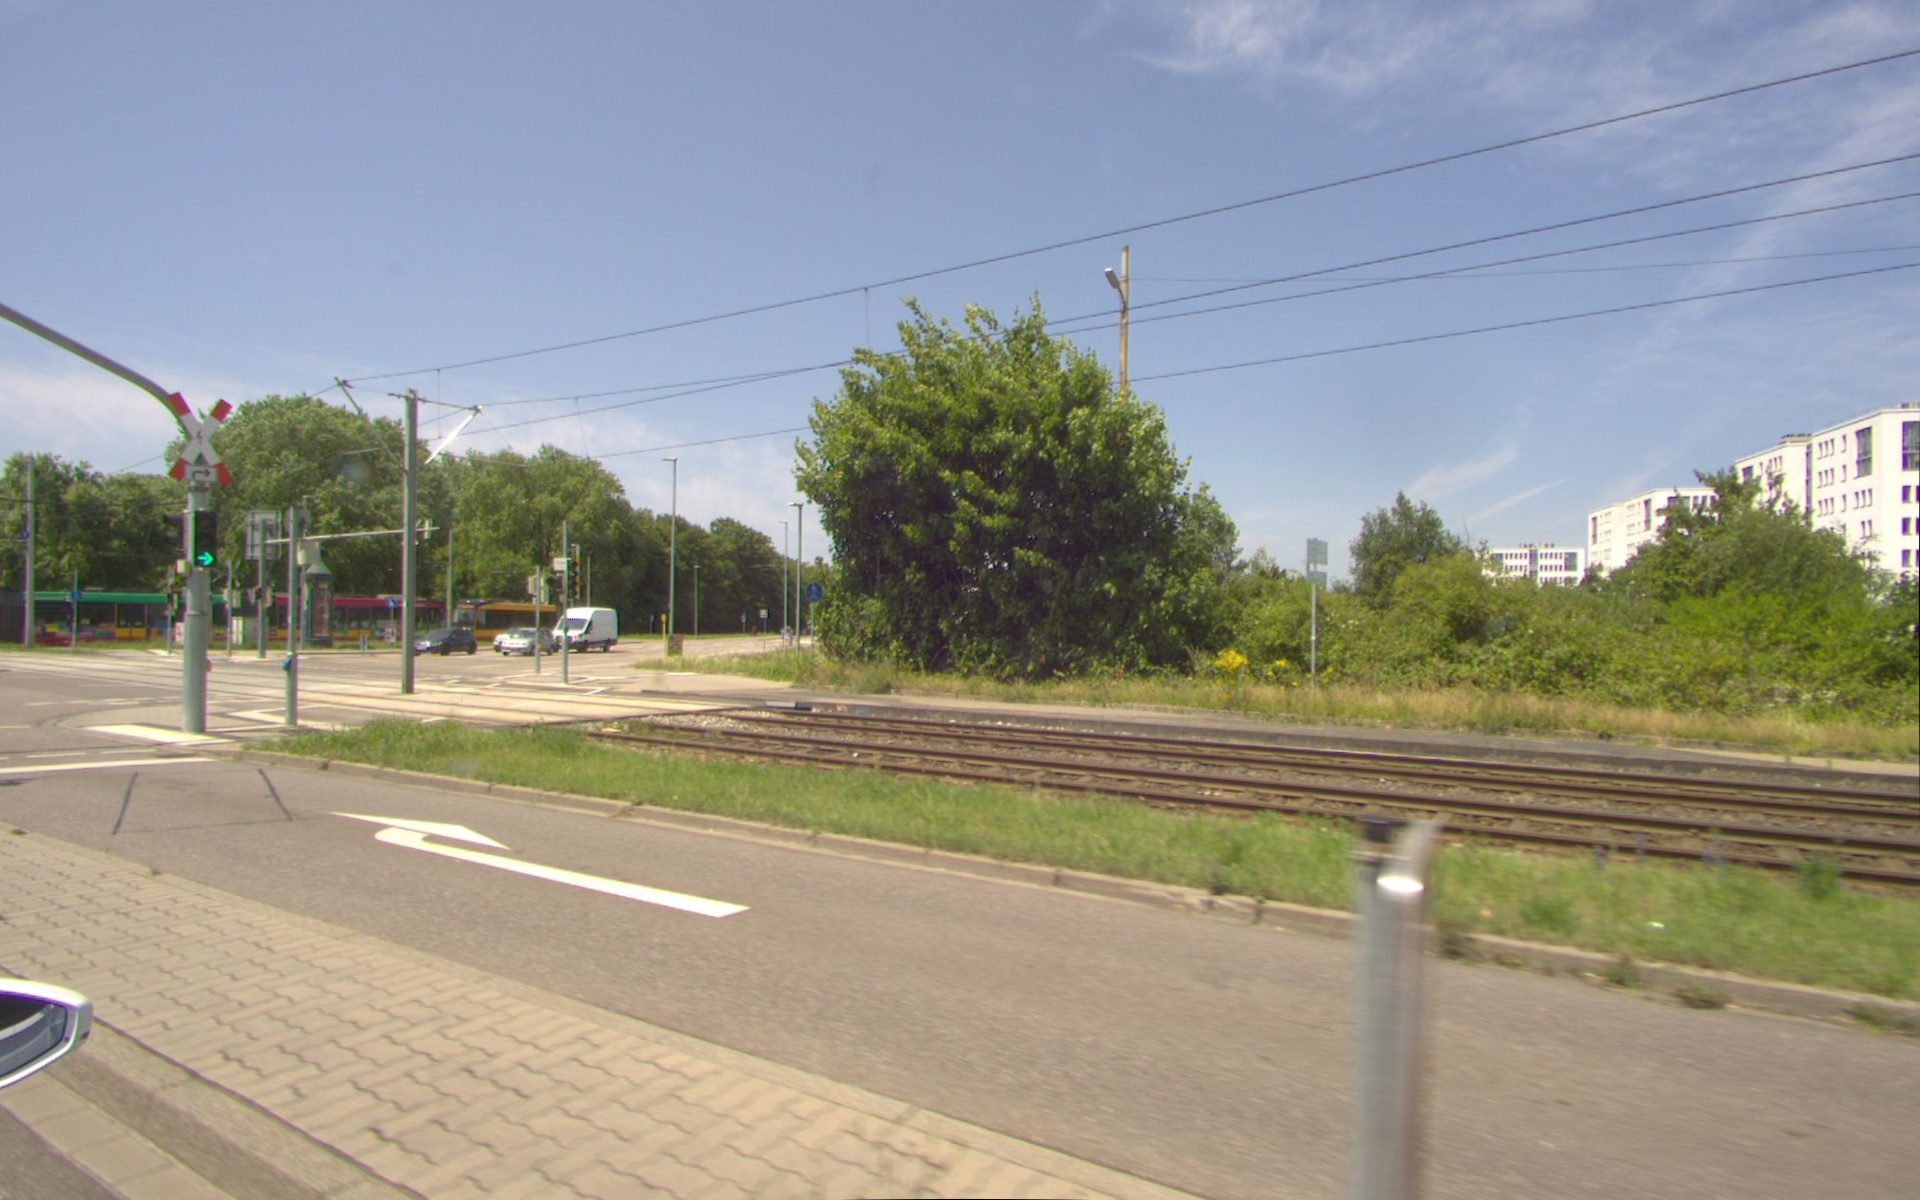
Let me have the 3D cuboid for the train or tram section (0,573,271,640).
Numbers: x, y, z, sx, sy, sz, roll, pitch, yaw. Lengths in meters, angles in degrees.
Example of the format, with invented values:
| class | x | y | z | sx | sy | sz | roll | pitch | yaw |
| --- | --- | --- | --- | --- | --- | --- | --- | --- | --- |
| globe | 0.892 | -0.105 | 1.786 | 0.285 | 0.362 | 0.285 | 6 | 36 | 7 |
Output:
| class | x | y | z | sx | sy | sz | roll | pitch | yaw |
| --- | --- | --- | --- | --- | --- | --- | --- | --- | --- |
| train or tram section | -51.415 | 0.479 | 62.677 | 13.238 | 3.857 | 2.917 | 1 | -4 | -23 |

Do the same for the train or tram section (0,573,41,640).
| class | x | y | z | sx | sy | sz | roll | pitch | yaw |
| --- | --- | --- | --- | --- | --- | --- | --- | --- | --- |
| train or tram section | -63.171 | 0.530 | 60.461 | 12.819 | 3.857 | 2.927 | -1 | -3 | 2 |

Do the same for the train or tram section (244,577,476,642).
| class | x | y | z | sx | sy | sz | roll | pitch | yaw |
| --- | --- | --- | --- | --- | --- | --- | --- | --- | --- |
| train or tram section | -41.803 | 0.863 | 70.700 | 2.889 | 3.966 | 13.949 | -4 | -5 | 38 |

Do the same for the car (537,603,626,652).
| class | x | y | z | sx | sy | sz | roll | pitch | yaw |
| --- | --- | --- | --- | --- | --- | --- | --- | --- | --- |
| car | -23.624 | 1.714 | 62.867 | 2.664 | 2.838 | 7.287 | 1 | -1 | 1 |

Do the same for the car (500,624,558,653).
| class | x | y | z | sx | sy | sz | roll | pitch | yaw |
| --- | --- | --- | --- | --- | --- | --- | --- | --- | --- |
| car | -23.585 | 2.095 | 54.916 | 1.608 | 1.481 | 3.807 | 1 | -1 | -2 |

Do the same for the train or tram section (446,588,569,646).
| class | x | y | z | sx | sy | sz | roll | pitch | yaw |
| --- | --- | --- | --- | --- | --- | --- | --- | --- | --- |
| train or tram section | -37.191 | 1.613 | 83.264 | 2.867 | 3.965 | 13.979 | -1 | -4 | 5 |

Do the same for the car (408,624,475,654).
| class | x | y | z | sx | sy | sz | roll | pitch | yaw |
| --- | --- | --- | --- | --- | --- | --- | --- | --- | --- |
| car | -26.988 | 1.993 | 52.240 | 1.608 | 1.482 | 3.510 | 1 | -1 | 1 |
